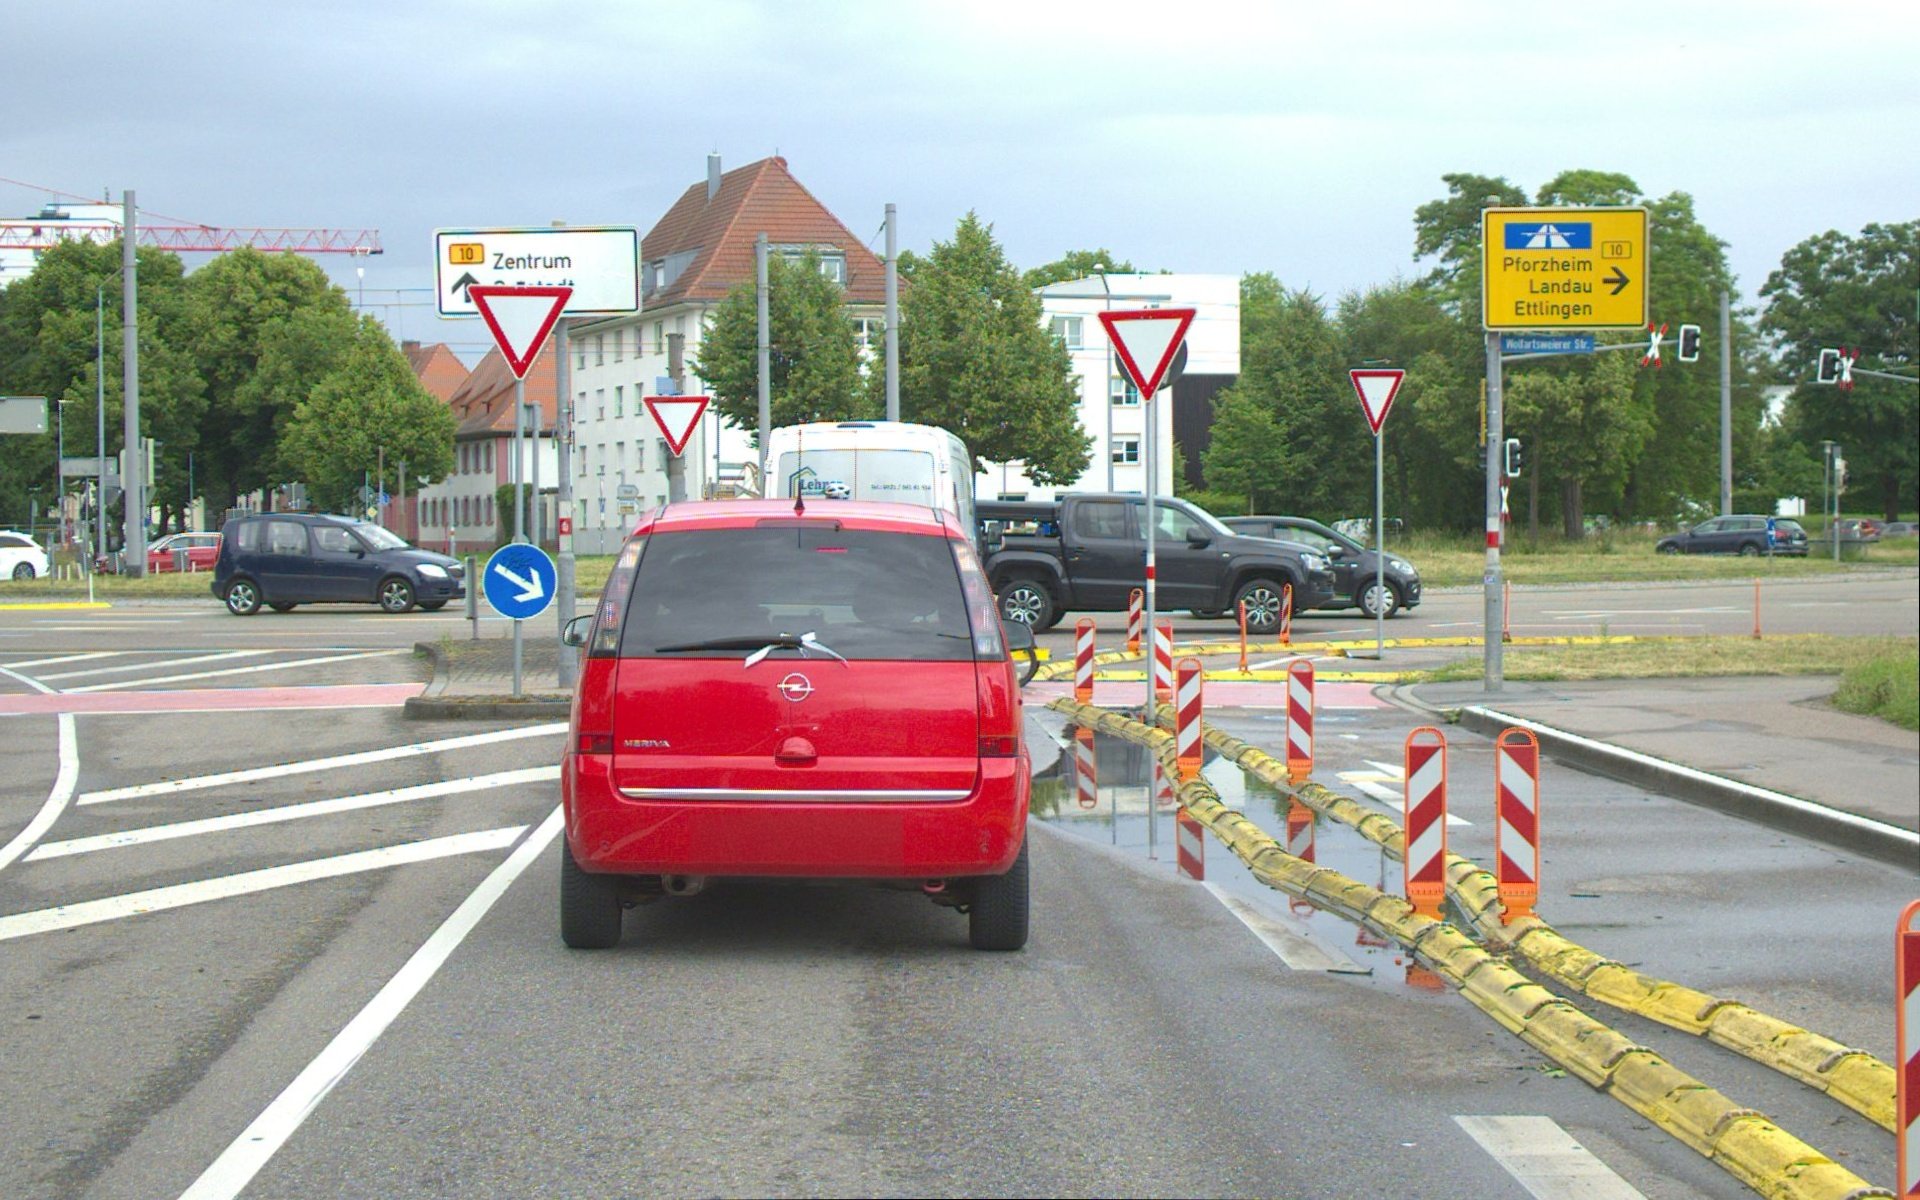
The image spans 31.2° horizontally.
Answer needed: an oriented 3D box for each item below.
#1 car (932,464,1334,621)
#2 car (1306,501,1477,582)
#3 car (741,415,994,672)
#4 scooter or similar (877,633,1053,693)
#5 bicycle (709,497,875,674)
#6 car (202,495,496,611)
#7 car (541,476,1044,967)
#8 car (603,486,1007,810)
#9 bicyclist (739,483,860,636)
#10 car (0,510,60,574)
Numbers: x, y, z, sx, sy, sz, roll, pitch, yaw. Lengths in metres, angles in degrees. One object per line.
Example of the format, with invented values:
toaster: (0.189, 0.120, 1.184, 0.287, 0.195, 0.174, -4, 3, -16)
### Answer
car: (2.321, -0.756, 45.359, 5.028, 1.965, 2.223, 0, 1, 11)
car: (10.666, -1.435, 84.858, 3.989, 1.842, 1.999, 2, -1, 12)
car: (-0.898, -0.625, 36.775, 2.195, 2.531, 4.962, 1, 1, 4)
scooter or similar: (0.059, 0.580, 31.880, 1.607, 0.502, 0.924, -1, 1, 2)
bicycle: (-1.550, -0.140, 31.862, 1.477, 1.606, 0.606, -1, 1, 1)
car: (-9.820, -0.766, 55.403, 4.196, 1.807, 2.077, 0, 1, 9)
car: (-0.617, 0.368, 13.382, 1.673, 1.635, 3.628, 1, 1, -2)
car: (-0.863, 0.193, 19.969, 2.059, 1.642, 4.608, 1, 1, -2)
bicyclist: (-1.482, -0.377, 31.849, 1.061, 1.396, 0.615, -1, 1, 1)
car: (-25.552, -1.463, 87.916, 1.998, 1.629, 4.666, 0, 2, 36)
